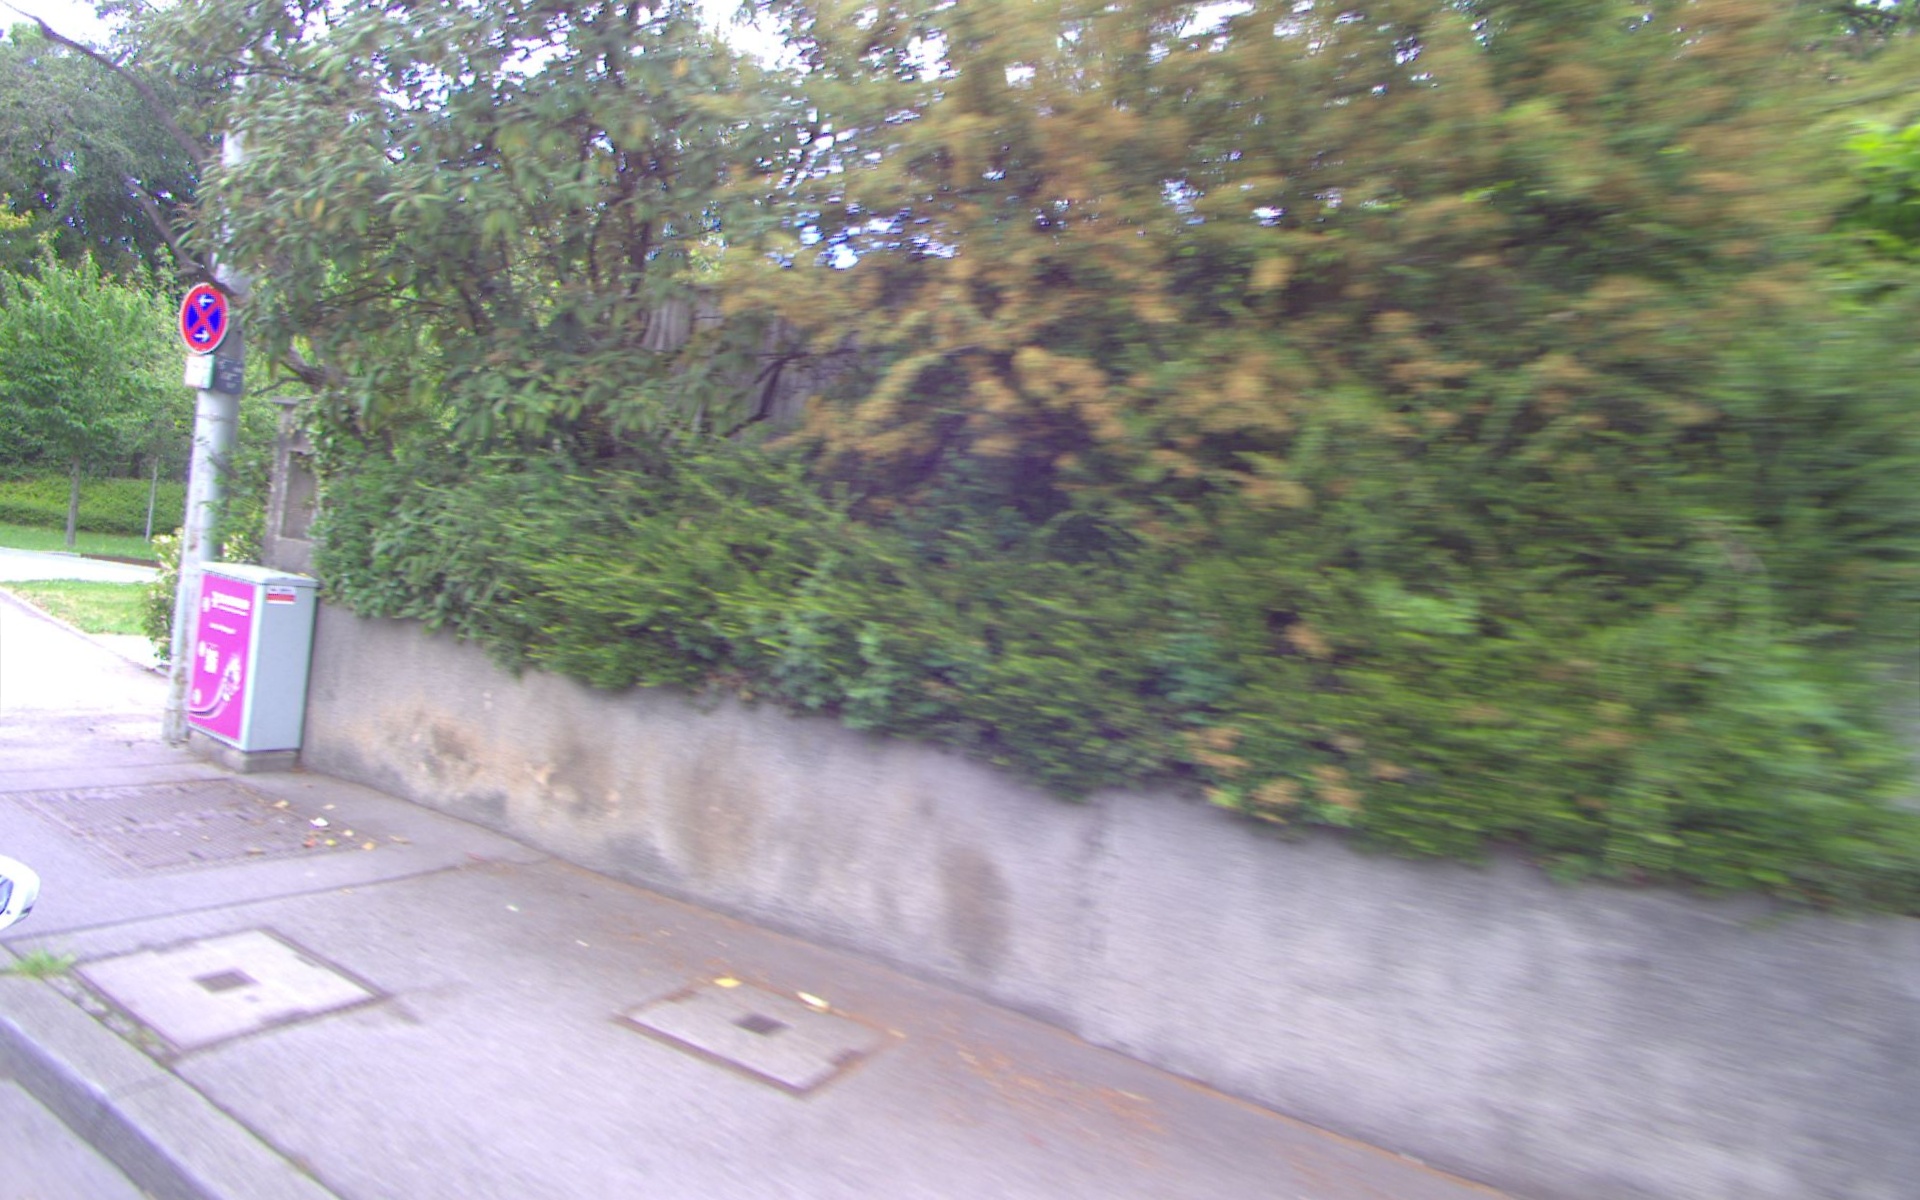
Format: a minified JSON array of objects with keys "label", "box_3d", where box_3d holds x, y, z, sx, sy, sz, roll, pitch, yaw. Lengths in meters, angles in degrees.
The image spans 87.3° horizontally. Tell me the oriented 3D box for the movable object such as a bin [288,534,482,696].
[{"label":"movable object such as a bin","box_3d":[-5.545,0.163,9.743,0.862,1.379,1.265,7,-1,38]}]
